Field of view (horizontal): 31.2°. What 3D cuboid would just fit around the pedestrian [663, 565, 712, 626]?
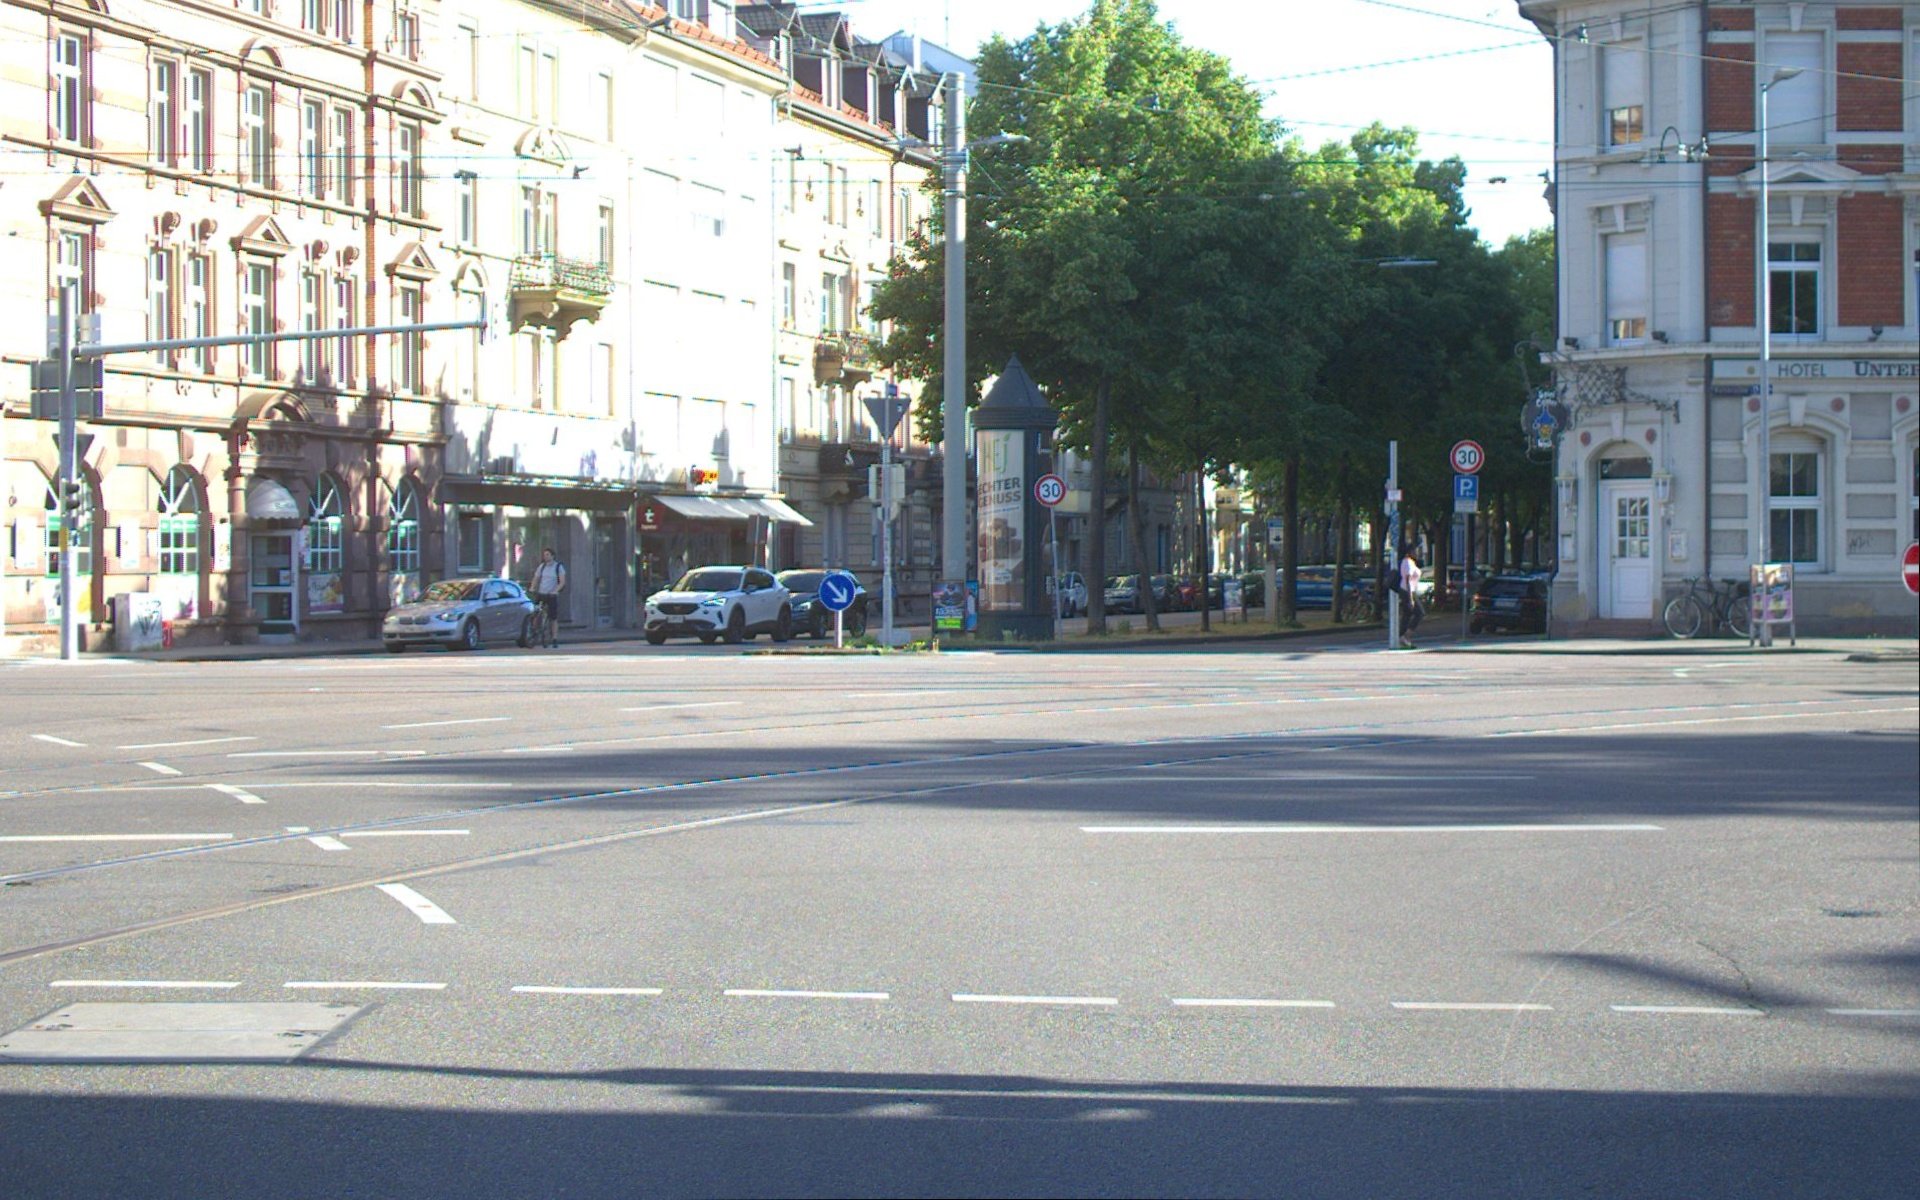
[{"bbox_3d":[-7.009,-0.119,88.445,0.929,1.530,1.136,0,1,14],"label":"pedestrian"}]

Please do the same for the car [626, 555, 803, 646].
[{"bbox_3d":[-4.761,-0.019,67.334,1.995,1.678,4.387,0,1,17],"label":"car"}]

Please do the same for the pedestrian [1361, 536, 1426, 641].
[{"bbox_3d":[7.216,-0.198,57.290,1.046,1.738,0.808,0,1,6],"label":"pedestrian"}]

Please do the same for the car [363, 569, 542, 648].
[{"bbox_3d":[-9.849,0.148,67.059,1.900,1.450,3.997,0,1,17],"label":"car"}]

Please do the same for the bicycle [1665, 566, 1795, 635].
[{"bbox_3d":[12.859,0.008,57.398,2.085,1.120,0.367,1,0,-4],"label":"bicycle"}]

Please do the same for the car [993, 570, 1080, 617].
[{"bbox_3d":[2.490,-0.223,110.971,1.995,1.481,3.998,0,1,14],"label":"car"}]

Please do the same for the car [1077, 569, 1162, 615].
[{"bbox_3d":[5.710,-0.299,122.673,1.995,1.607,4.387,0,1,17],"label":"car"}]

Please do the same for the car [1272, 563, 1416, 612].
[{"bbox_3d":[12.866,-0.434,115.198,4.382,1.606,1.997,0,1,27],"label":"car"}]

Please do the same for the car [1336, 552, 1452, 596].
[{"bbox_3d":[16.865,-1.014,133.632,3.993,1.700,1.997,0,1,30],"label":"car"}]

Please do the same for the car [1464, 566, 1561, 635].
[{"bbox_3d":[13.272,-0.012,82.449,1.995,1.579,3.998,0,1,14],"label":"car"}]

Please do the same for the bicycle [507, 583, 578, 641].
[{"bbox_3d":[-7.886,0.216,65.020,0.680,1.062,2.124,0,1,12],"label":"bicycle"}]

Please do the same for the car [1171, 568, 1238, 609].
[{"bbox_3d":[9.703,-0.467,136.340,1.766,1.544,4.387,0,1,16],"label":"car"}]

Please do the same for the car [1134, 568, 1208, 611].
[{"bbox_3d":[8.037,-0.418,130.463,1.839,1.547,4.387,0,1,17],"label":"car"}]

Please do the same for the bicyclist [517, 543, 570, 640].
[{"bbox_3d":[-7.876,-0.164,65.055,0.679,1.814,1.070,0,1,12],"label":"bicyclist"}]

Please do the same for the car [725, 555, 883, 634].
[{"bbox_3d":[-3.315,-0.136,73.847,1.995,1.606,4.387,0,1,17],"label":"car"}]
